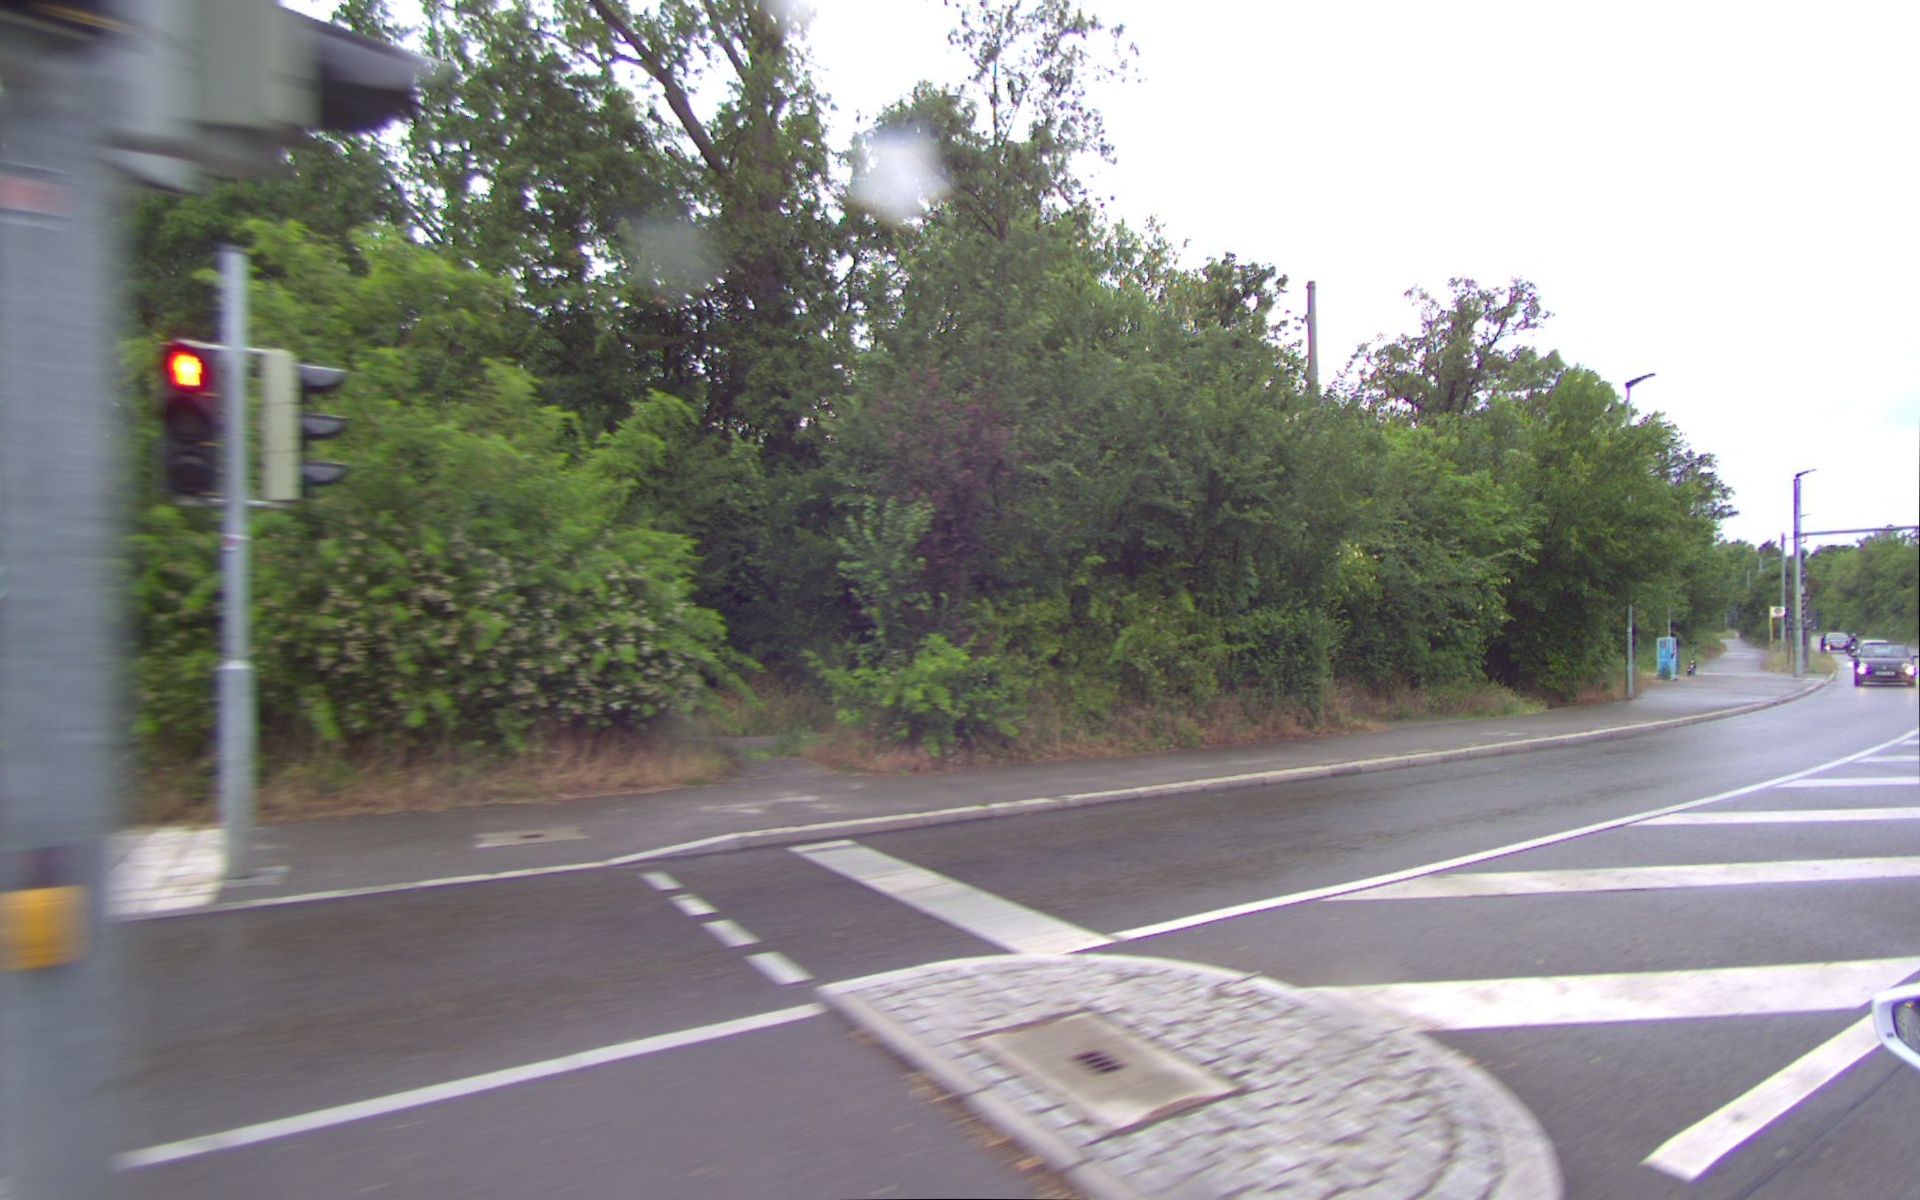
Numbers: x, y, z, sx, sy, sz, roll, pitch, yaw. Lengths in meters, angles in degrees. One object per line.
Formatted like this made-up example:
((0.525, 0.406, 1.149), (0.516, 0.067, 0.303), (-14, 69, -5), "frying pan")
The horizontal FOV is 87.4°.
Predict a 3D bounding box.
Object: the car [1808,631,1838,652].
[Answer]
((68.948, 3.301, 80.230), (1.769, 1.602, 4.538), (-2, -3, 41), "car")

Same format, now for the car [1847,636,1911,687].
((33.069, 2.171, 36.174), (1.559, 1.753, 3.754), (-3, -3, 42), "car")

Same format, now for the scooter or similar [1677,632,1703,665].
((27.716, 1.823, 38.129), (1.458, 1.228, 0.512), (1, -1, -42), "scooter or similar")

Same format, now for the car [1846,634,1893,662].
((47.937, 2.509, 52.998), (1.721, 1.370, 4.188), (-3, -3, 41), "car")

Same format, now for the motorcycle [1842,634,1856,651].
((57.226, 2.756, 64.647), (0.588, 1.064, 1.986), (-2, -3, 44), "motorcycle")

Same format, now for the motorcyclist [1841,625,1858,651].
((57.169, 2.462, 64.568), (0.738, 1.653, 0.921), (-2, -3, 44), "motorcyclist")
